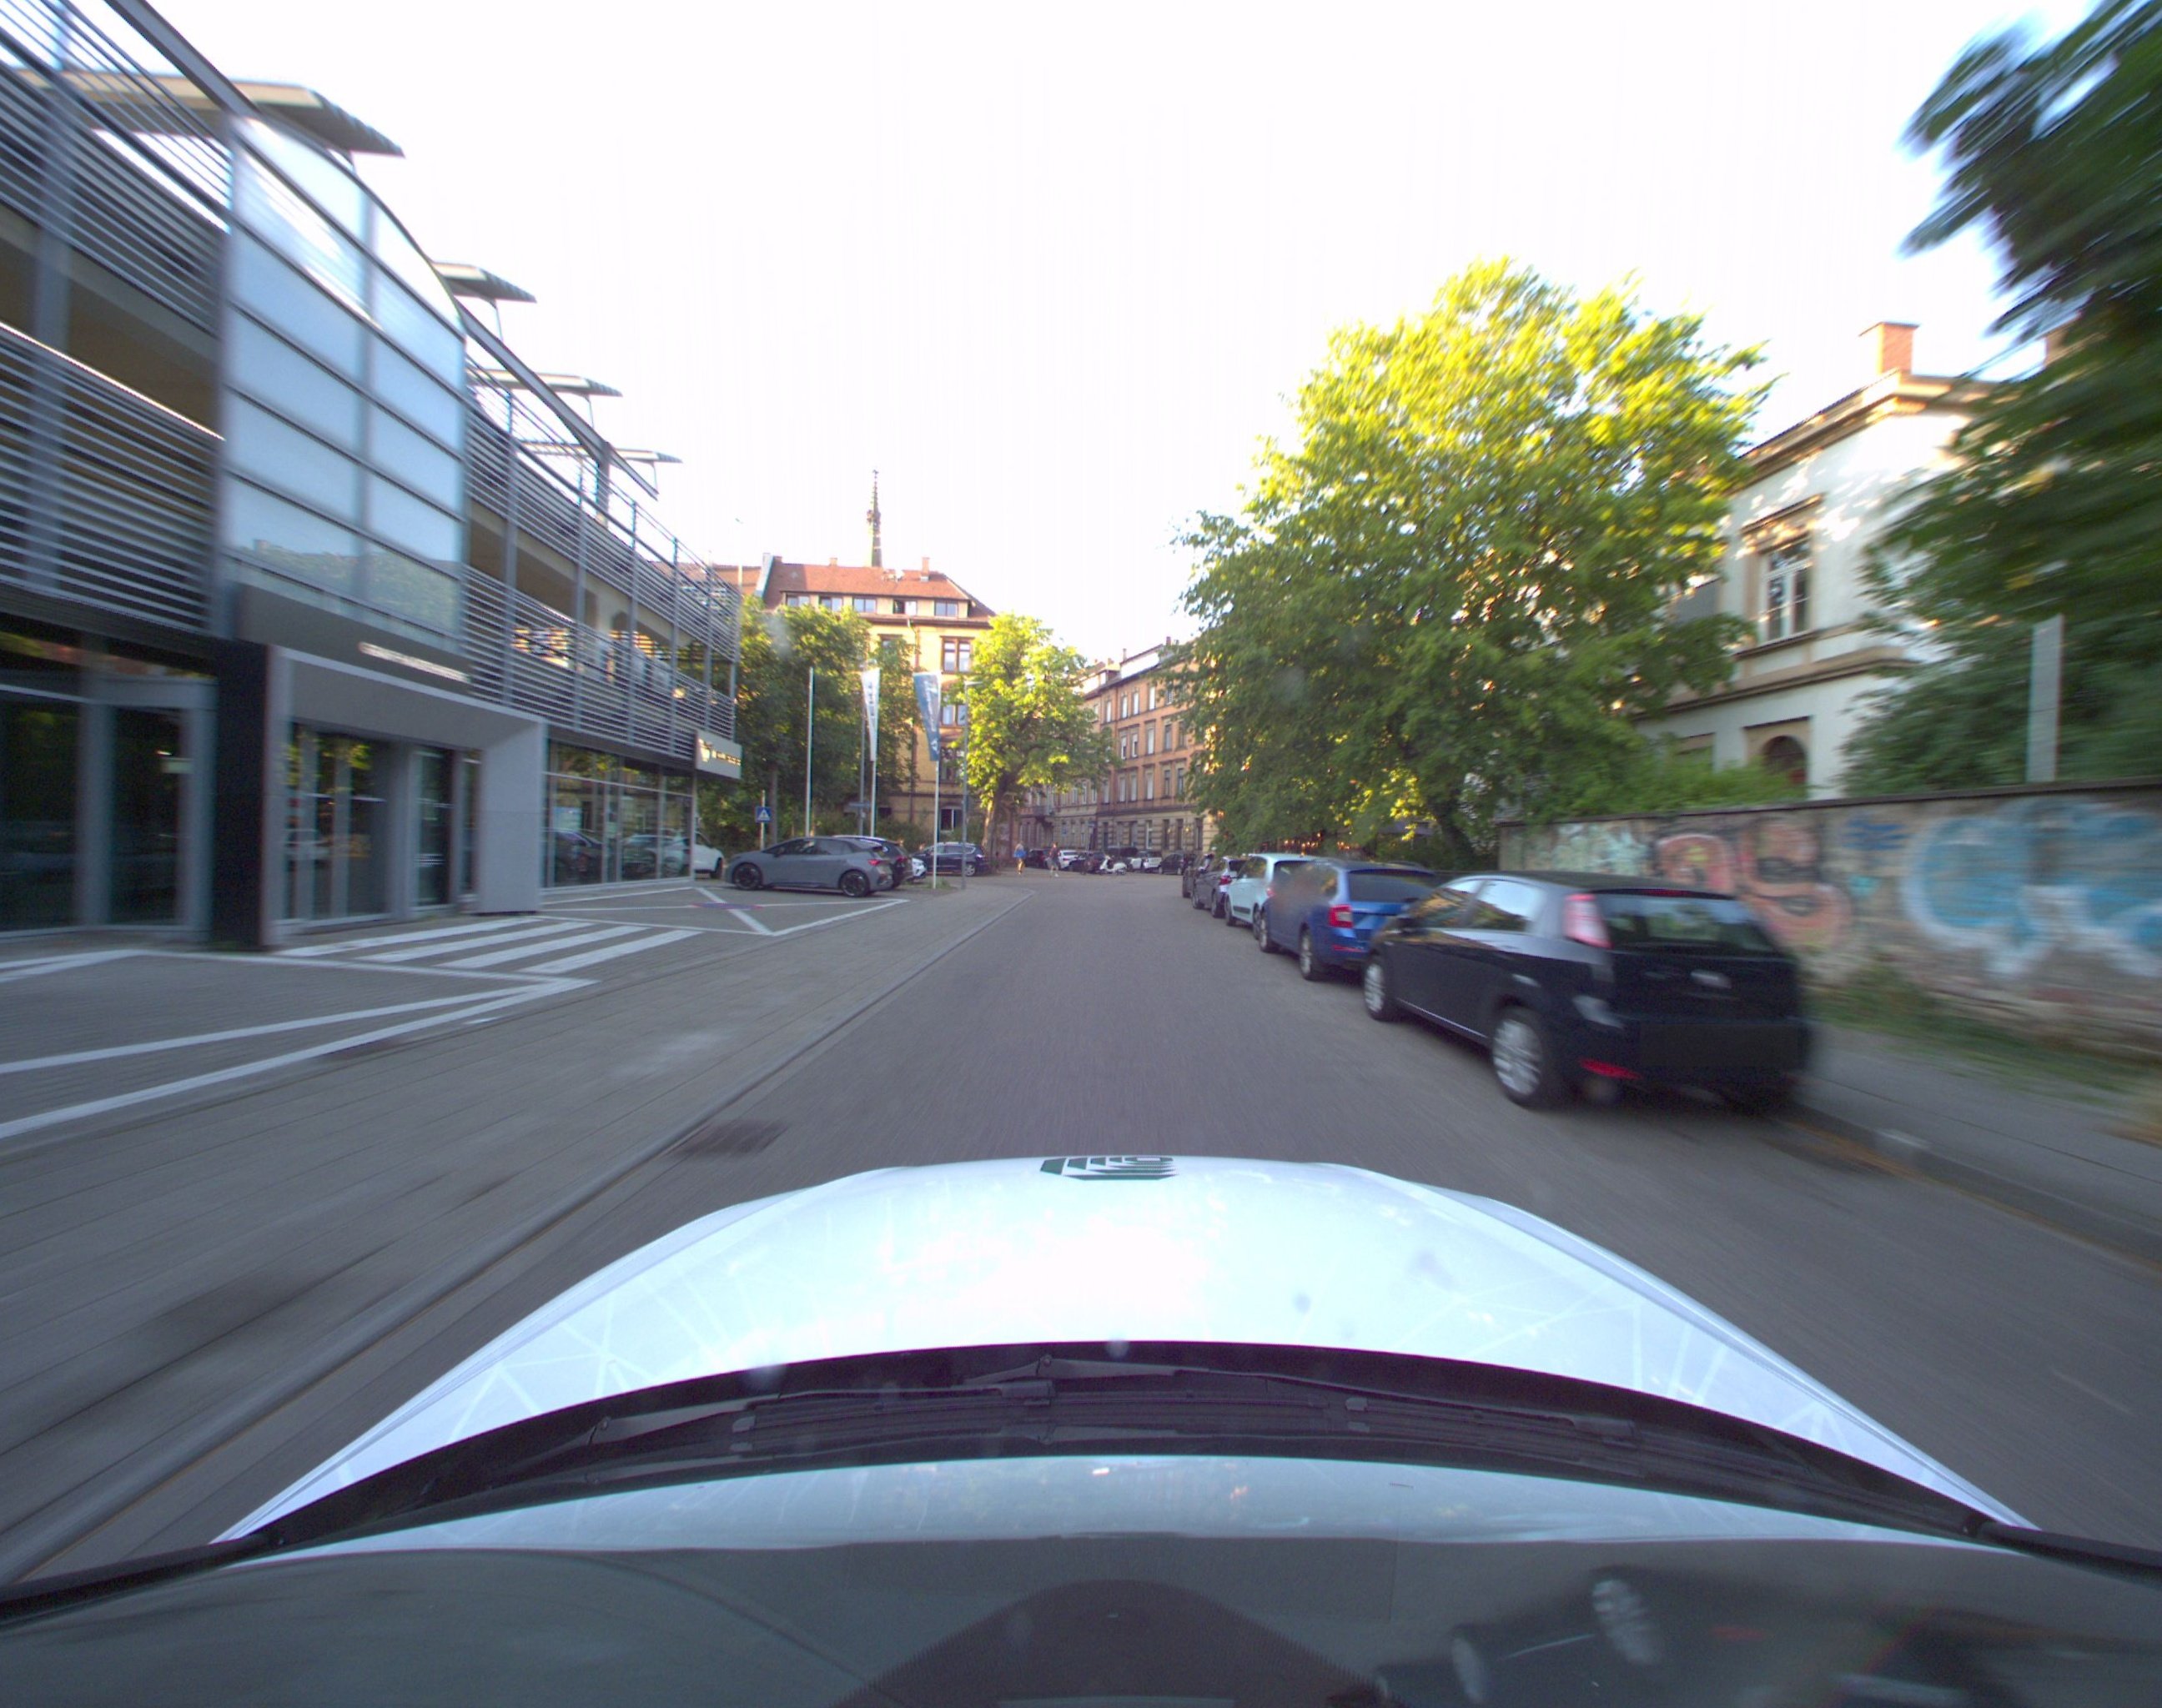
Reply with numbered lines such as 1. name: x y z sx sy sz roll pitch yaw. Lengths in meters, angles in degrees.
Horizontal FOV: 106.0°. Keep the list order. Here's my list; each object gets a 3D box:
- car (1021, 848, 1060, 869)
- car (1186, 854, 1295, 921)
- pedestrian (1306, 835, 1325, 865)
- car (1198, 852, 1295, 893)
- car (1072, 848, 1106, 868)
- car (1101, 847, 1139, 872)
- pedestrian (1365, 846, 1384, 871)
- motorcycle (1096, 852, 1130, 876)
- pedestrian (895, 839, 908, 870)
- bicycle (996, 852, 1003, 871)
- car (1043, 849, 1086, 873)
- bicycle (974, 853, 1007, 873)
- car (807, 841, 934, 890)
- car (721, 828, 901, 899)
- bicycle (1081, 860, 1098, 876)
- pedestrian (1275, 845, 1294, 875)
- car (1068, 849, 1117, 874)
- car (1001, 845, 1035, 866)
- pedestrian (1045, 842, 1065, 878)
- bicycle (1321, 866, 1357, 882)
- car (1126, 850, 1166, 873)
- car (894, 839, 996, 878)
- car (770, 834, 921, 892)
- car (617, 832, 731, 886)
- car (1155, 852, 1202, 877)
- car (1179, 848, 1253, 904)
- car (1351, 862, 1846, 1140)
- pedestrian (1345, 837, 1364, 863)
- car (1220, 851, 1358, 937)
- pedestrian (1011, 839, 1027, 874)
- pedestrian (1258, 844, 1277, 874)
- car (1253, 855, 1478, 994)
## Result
1. car: -3.070 0.312 60.983 1.661 1.431 3.867 2 1 -23
2. car: 3.844 0.751 20.357 1.691 1.476 4.208 1 0 -3
3. pedestrian: 14.530 -0.266 50.454 0.774 1.804 0.839 0 1 -13
4. car: 6.583 0.709 32.159 1.858 1.466 3.994 3 1 45
5. car: 0.603 0.313 65.883 1.681 1.431 2.992 2 1 -23
6. car: 2.902 0.394 60.530 1.681 1.782 2.992 2 1 -23
7. pedestrian: 17.551 0.278 48.675 0.773 1.481 0.759 1 1 -9
8. motorcycle: 1.904 0.600 48.712 1.931 1.340 0.575 1 1 -9
9. pedestrian: -9.526 0.031 43.226 0.541 1.634 0.447 1 1 -3
10. bicycle: -4.771 0.424 47.882 0.318 1.028 1.676 1 1 -3
11. car: -1.188 0.448 56.662 1.660 1.431 4.139 2 1 -20
12. bicycle: -4.822 0.478 43.399 1.679 1.028 0.442 1 1 -23
13. car: -7.503 0.387 29.331 4.035 1.475 1.919 3 1 -3
14. car: -7.148 0.228 21.915 4.117 1.617 1.913 3 1 -1
15. bicycle: 0.488 0.799 46.624 0.421 0.822 1.470 2 1 23
16. pedestrian: 12.334 0.354 49.344 0.774 1.804 0.839 1 1 -13
17. car: 0.701 0.459 51.989 1.661 1.431 3.961 2 1 -22
18. car: -5.176 0.075 66.342 1.661 1.524 3.867 2 1 -23
19. pedestrian: -1.386 0.300 42.664 0.737 1.804 1.115 1 1 -19
20. bicycle: 14.682 1.121 46.362 1.969 0.885 0.399 1 1 -12
21. car: 4.544 0.511 57.040 1.681 1.525 2.746 2 1 -23
22. car: -6.726 0.216 40.801 4.821 1.732 1.918 2 1 -5
23. car: -7.143 0.247 24.995 4.054 1.618 1.765 1 1 -1
24. car: -12.931 0.149 26.163 1.698 1.550 4.218 1 0 -3
25. car: 6.382 0.671 53.471 1.682 1.525 3.220 1 1 -23
26. car: 4.123 0.624 25.389 1.689 1.571 3.972 1 0 1
27. car: 3.521 0.839 6.444 1.591 1.476 3.775 1 0 1
28. pedestrian: 16.317 -0.248 48.566 0.773 1.481 0.759 1 1 -10
29. car: 3.920 0.691 15.939 1.690 1.476 3.557 1 0 -2
30. pedestrian: -3.353 0.121 44.195 0.813 1.852 0.802 1 1 -3
31. pedestrian: 11.707 0.306 51.095 0.843 1.804 0.771 1 1 -19
32. car: 3.555 0.770 10.996 1.689 1.476 4.118 1 0 1
